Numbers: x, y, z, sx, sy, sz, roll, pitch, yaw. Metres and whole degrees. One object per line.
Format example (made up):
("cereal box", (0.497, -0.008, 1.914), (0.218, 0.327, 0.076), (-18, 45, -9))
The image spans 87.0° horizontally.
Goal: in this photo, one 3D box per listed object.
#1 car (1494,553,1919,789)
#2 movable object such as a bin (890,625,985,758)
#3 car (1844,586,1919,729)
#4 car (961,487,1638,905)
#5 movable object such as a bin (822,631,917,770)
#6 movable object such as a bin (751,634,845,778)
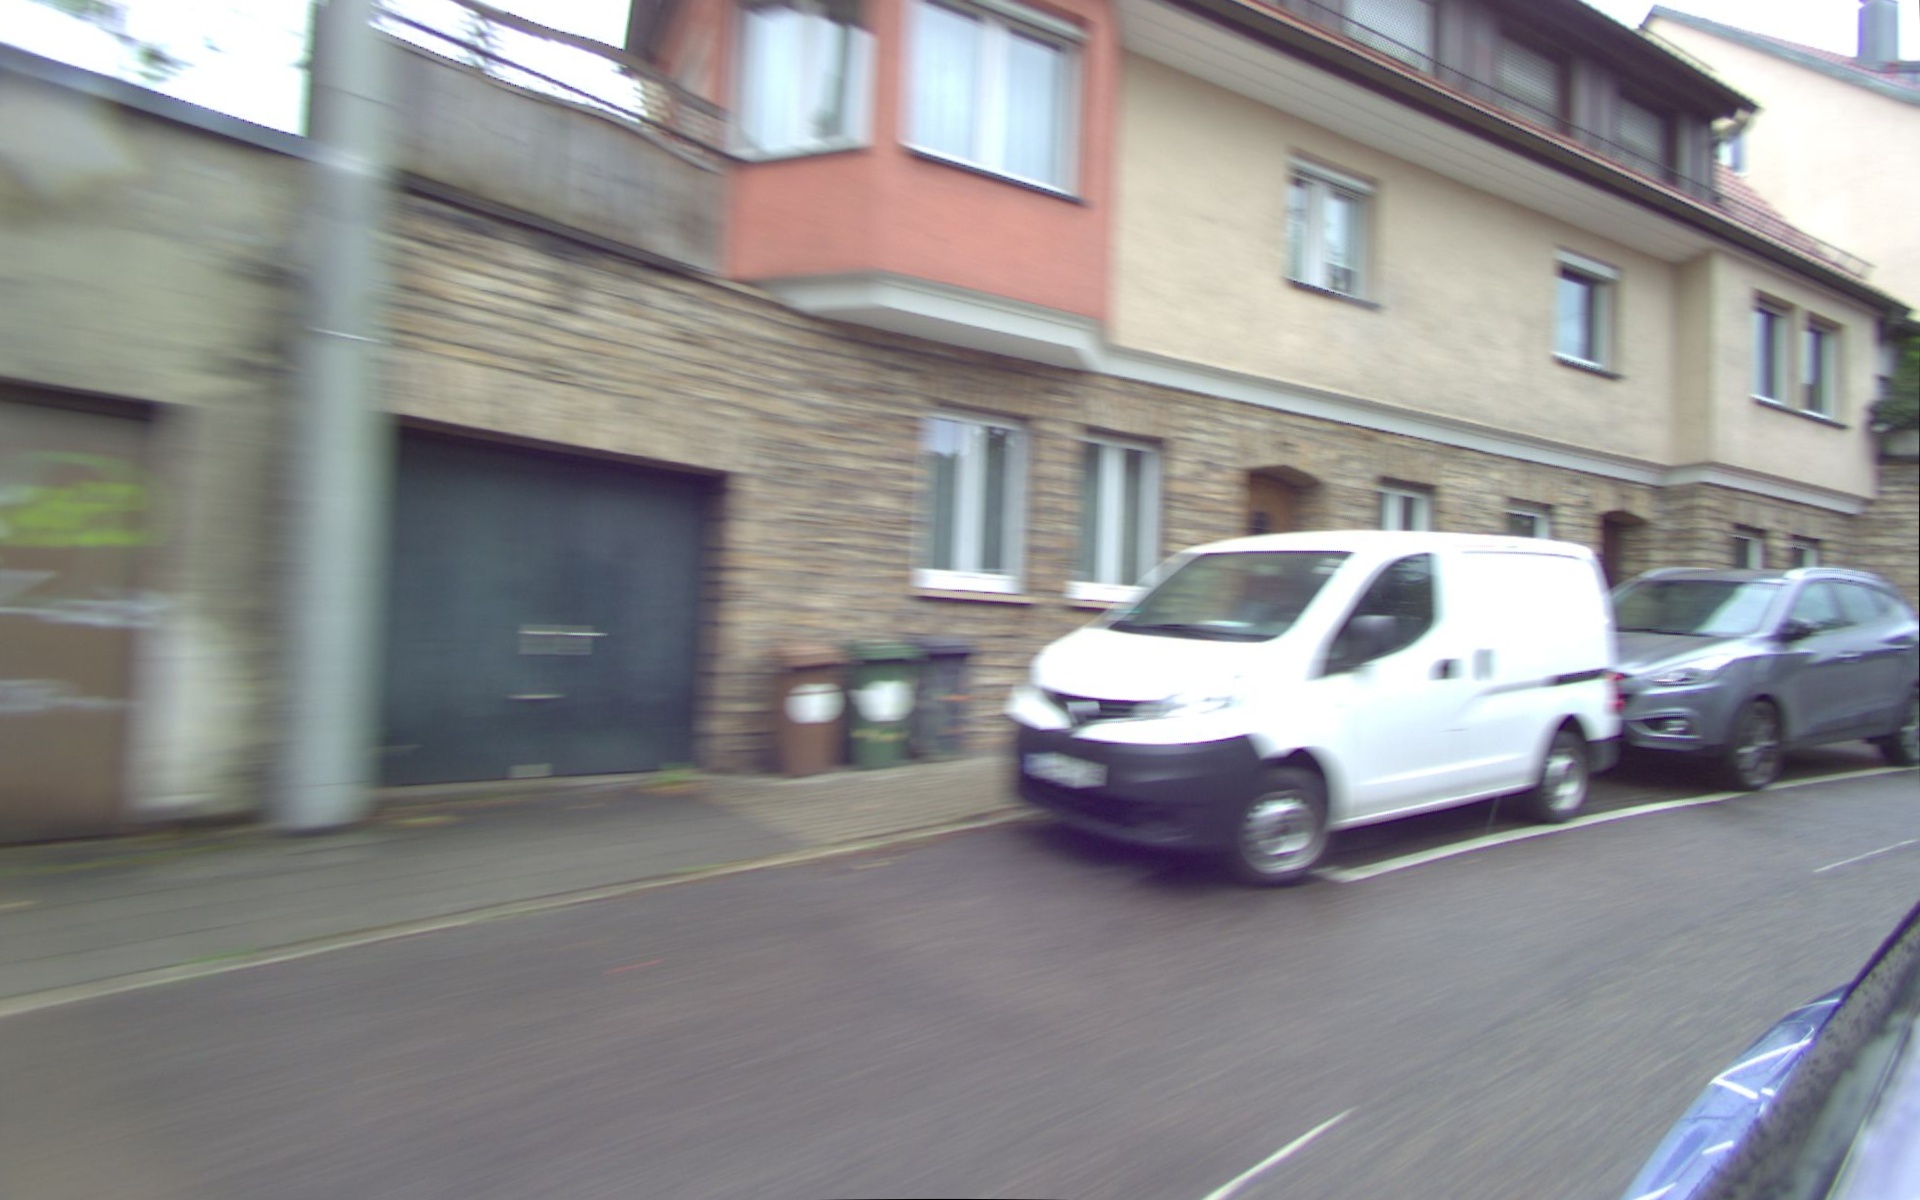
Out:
("car", (6.731, 0.482, 8.644), (4.321, 1.625, 1.623), (0, 1, -27))
("movable object such as a bin", (-0.181, 0.680, 7.775), (0.502, 0.933, 0.583), (1, 2, -26))
("car", (11.518, 0.579, 10.771), (3.506, 1.453, 1.624), (0, 1, -18))
("car", (2.253, 0.408, 6.280), (4.242, 1.813, 1.712), (0, 1, -33))
("movable object such as a bin", (-0.682, 0.722, 7.525), (0.502, 0.933, 0.583), (1, 2, -26))
("movable object such as a bin", (-1.173, 0.734, 7.284), (0.502, 0.933, 0.583), (1, 2, -26))
